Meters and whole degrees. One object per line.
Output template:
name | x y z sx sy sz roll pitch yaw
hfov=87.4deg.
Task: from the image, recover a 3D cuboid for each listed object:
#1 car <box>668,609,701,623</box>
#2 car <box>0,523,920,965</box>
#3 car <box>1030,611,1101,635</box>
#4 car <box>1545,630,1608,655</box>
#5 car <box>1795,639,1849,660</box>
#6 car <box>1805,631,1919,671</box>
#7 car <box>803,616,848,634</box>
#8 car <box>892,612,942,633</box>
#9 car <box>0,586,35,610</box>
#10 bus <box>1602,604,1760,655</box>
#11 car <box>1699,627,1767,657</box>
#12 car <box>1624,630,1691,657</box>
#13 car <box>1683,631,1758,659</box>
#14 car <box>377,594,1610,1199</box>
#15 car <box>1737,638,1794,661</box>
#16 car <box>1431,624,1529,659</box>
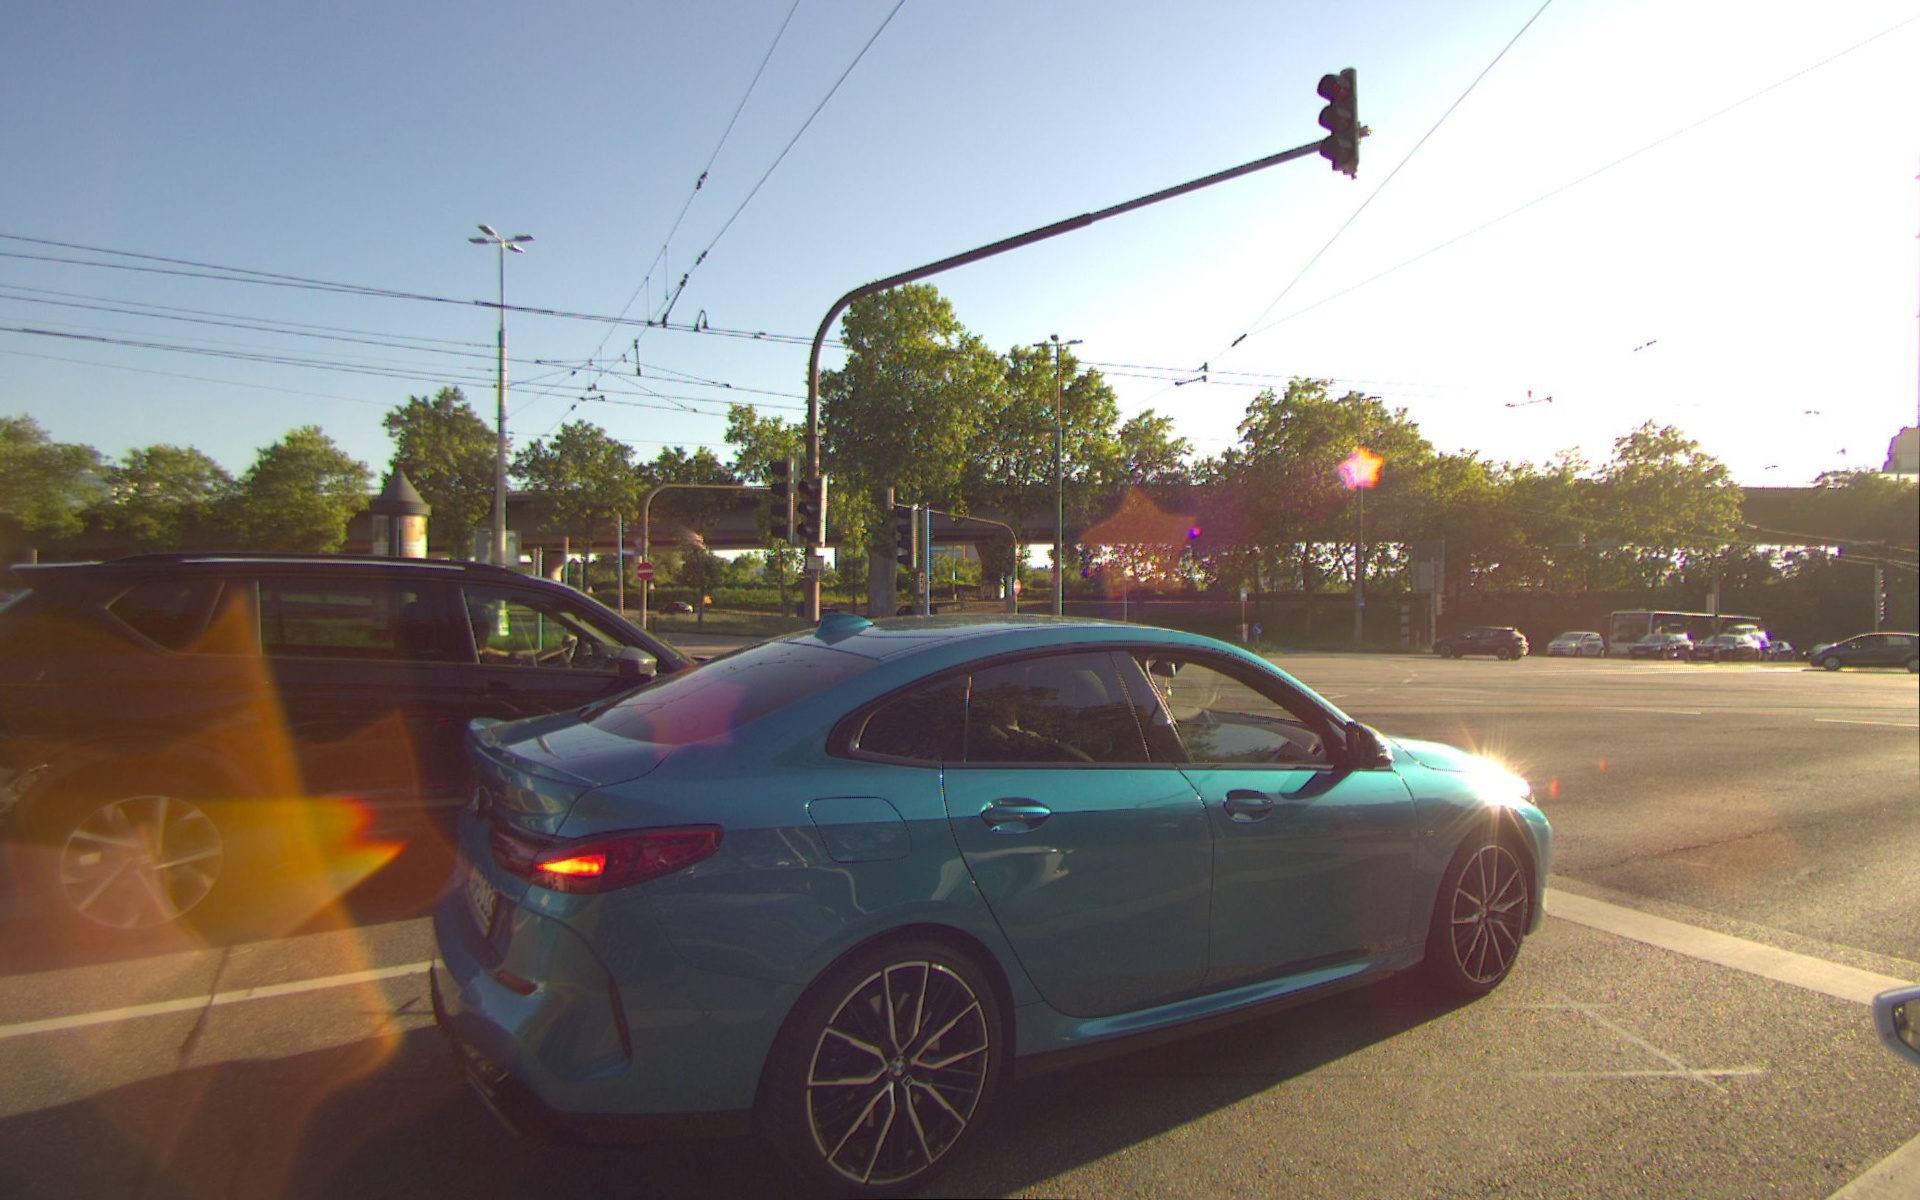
car | -30.126 1.730 109.590 1.981 1.473 4.487 2 -1 -36
car | -2.671 0.600 5.626 4.550 1.704 1.905 2 -1 -32
car | 6.854 1.515 65.419 1.985 1.473 4.480 2 -1 -41
car | 35.186 2.428 57.313 3.693 1.372 1.595 2 -1 -32
car | 60.898 3.487 70.935 3.952 1.461 1.692 2 -1 -30
car | 35.860 1.995 39.726 3.681 1.441 1.687 0 -1 43
car | -11.925 2.210 88.845 1.982 1.473 4.485 2 -1 -38
car | -3.631 1.845 84.360 1.983 1.644 4.484 2 -1 -39
car | -61.996 -0.131 64.761 3.922 1.506 1.999 1 -1 22
bus | 45.472 1.885 63.175 12.693 2.993 2.811 2 -1 -28
car | 44.866 2.414 58.286 4.046 1.674 1.703 2 -1 -30
car | 37.933 2.352 54.633 3.956 1.372 1.595 2 -1 -32
car | 39.670 2.334 52.386 4.046 1.372 1.703 2 -1 -30
car | 0.423 0.762 3.799 4.465 1.436 1.774 2 -1 -33
car | 54.841 3.359 68.395 3.952 1.461 1.692 2 -1 -30
car | 23.727 1.854 45.879 3.680 1.441 1.688 1 -1 42
